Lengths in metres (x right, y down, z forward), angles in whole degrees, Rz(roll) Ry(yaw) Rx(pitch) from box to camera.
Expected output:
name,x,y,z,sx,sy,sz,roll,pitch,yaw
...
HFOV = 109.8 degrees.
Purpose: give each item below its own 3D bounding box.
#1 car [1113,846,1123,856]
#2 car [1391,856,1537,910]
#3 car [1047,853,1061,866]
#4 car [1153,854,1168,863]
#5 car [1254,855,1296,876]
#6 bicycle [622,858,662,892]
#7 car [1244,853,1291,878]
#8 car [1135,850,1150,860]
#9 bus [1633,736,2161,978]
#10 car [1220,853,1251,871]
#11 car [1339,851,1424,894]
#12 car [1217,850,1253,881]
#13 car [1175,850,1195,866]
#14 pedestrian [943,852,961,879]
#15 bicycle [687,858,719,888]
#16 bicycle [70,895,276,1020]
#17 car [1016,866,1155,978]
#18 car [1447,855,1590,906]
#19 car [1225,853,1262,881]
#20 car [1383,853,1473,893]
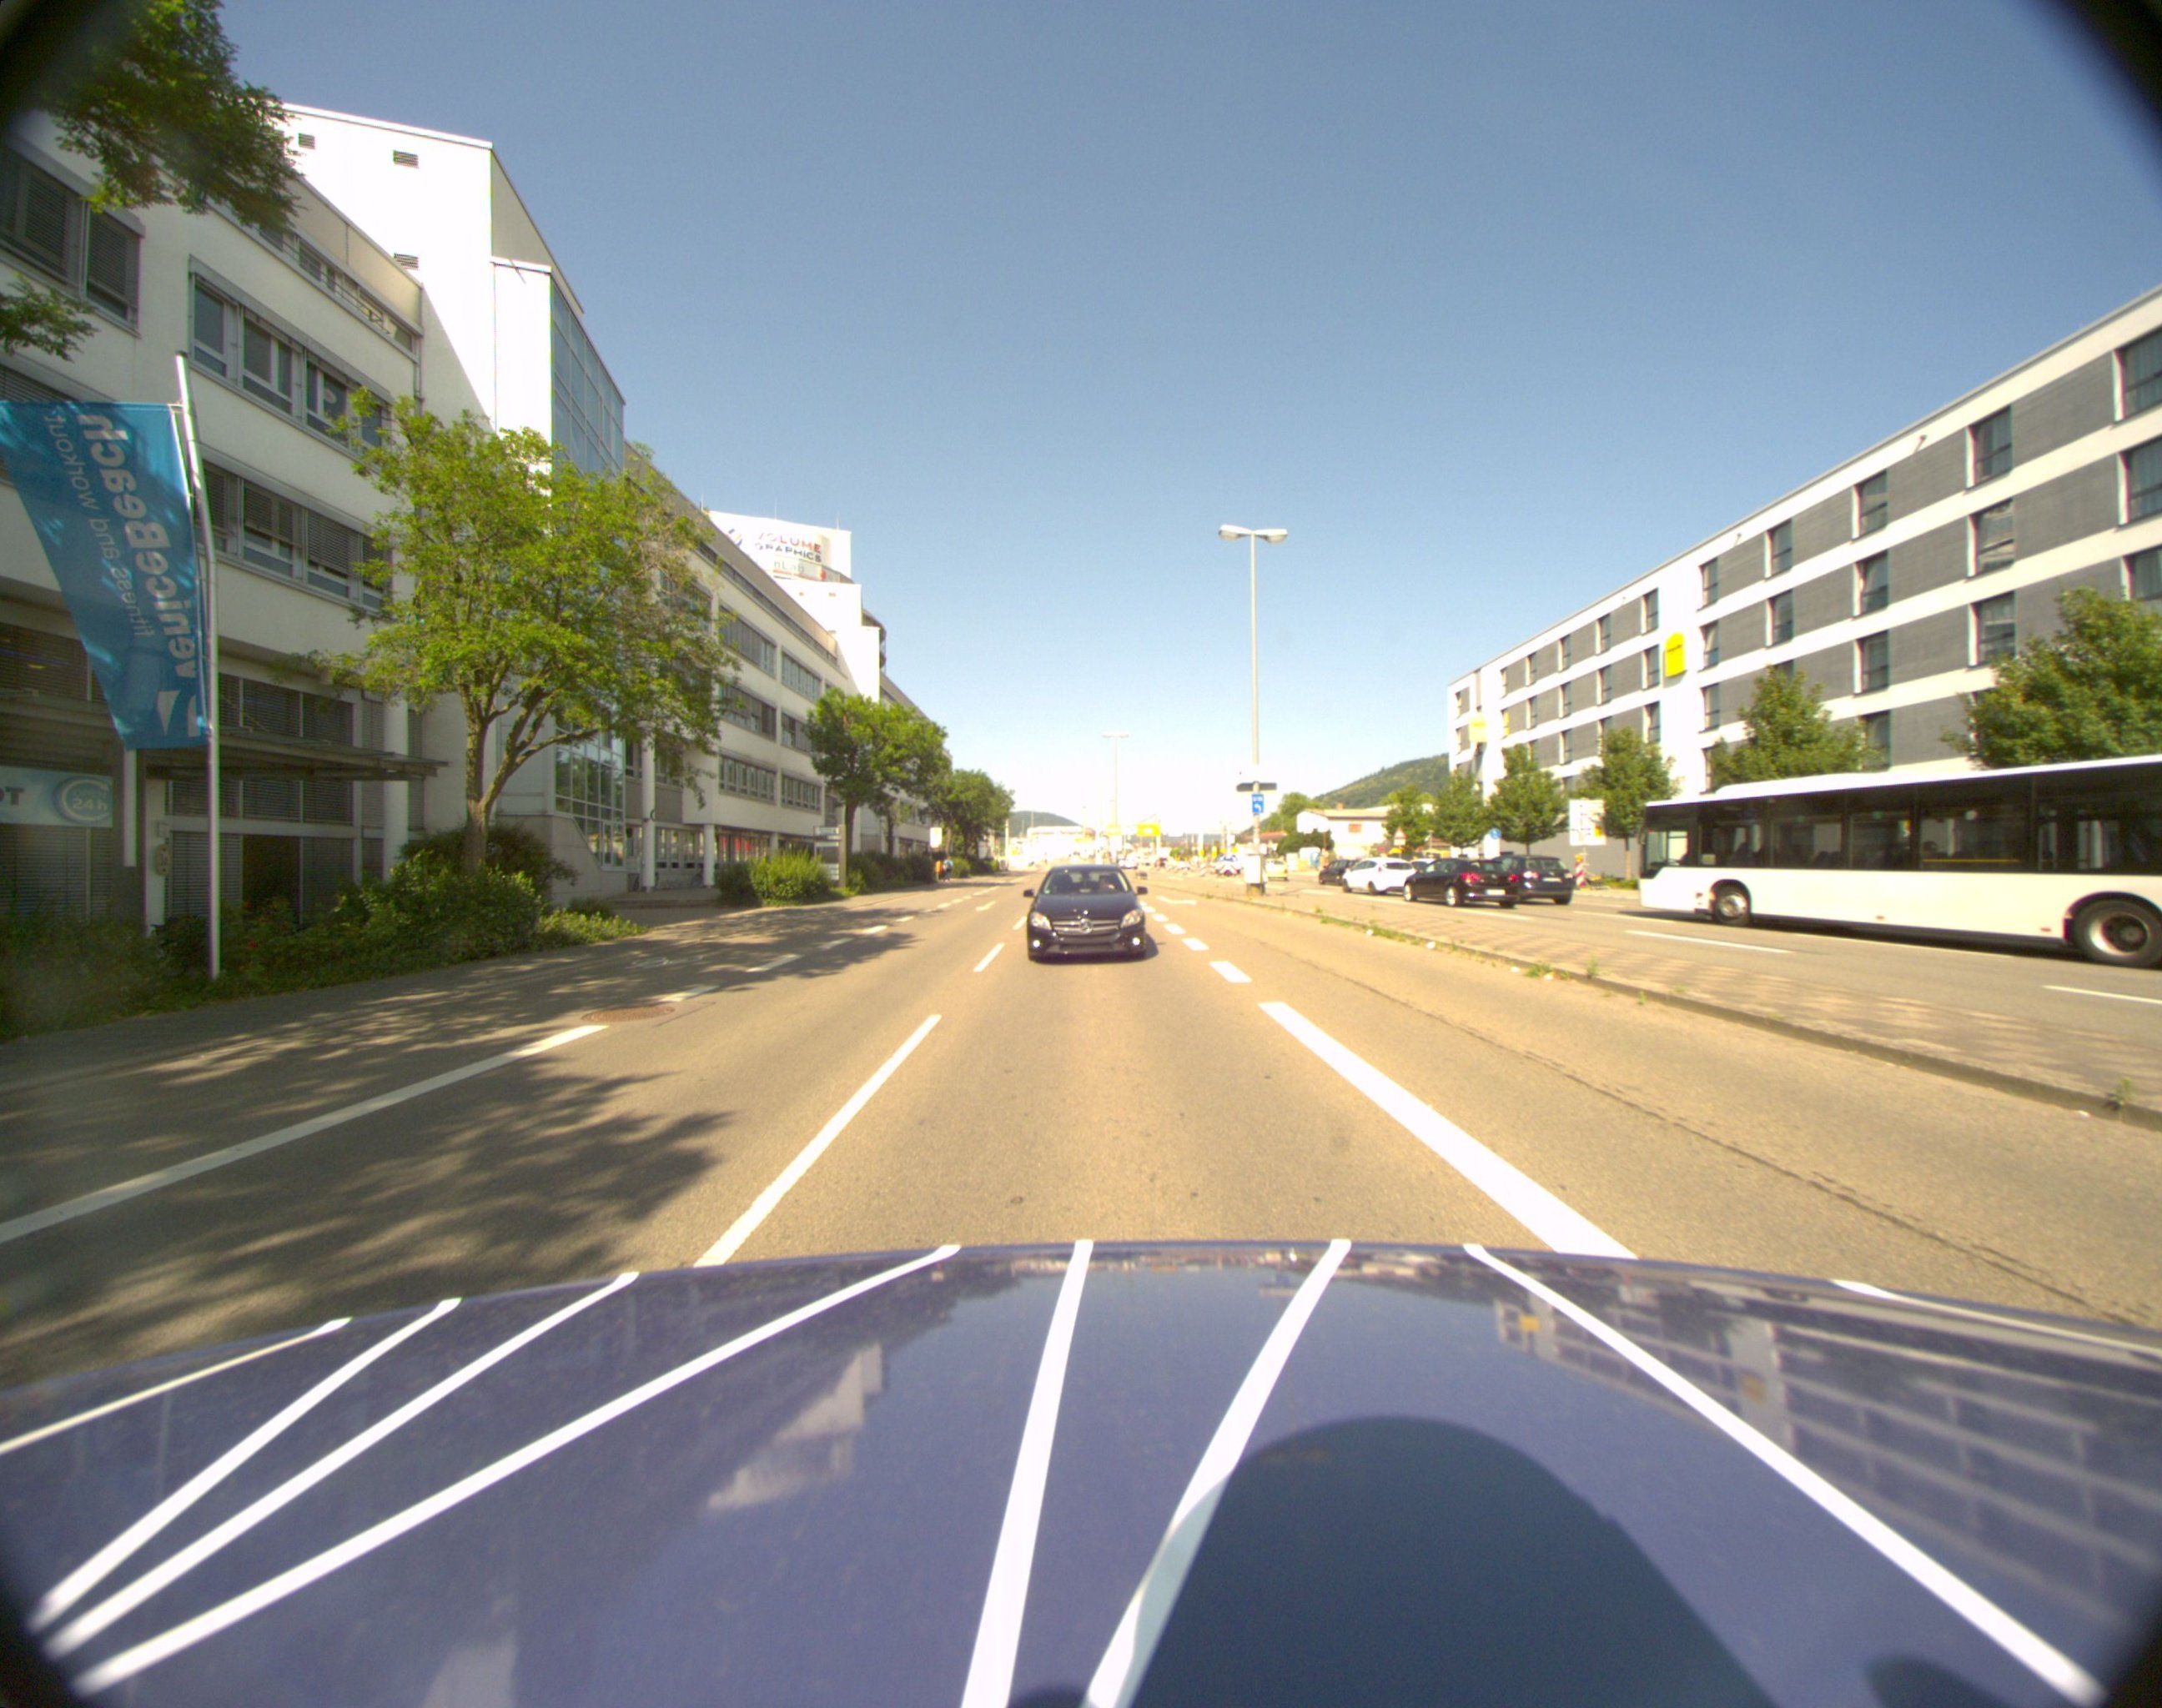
name,x,y,z,sx,sy,sz,roll,pitch,yaw
car,7.844,-0.734,162.286,1.998,2.002,3.999,-2,1,1
car,11.461,0.799,23.223,1.998,1.424,4.891,-1,0,0
car,-4.658,0.924,131.881,1.998,2.002,4.000,-2,1,2
car,12.384,0.684,118.730,1.815,1.328,3.937,-1,0,-3
car,15.025,0.842,59.051,1.998,1.514,4.891,-1,0,1
bicycle,-18.042,0.839,31.238,0.506,1.346,1.884,-1,0,1
car,12.409,0.730,50.799,1.998,1.514,4.891,-1,0,1
car,11.171,0.199,137.621,2.000,1.725,3.997,-1,0,-6
bus,15.023,0.053,12.721,2.745,3.060,11.974,1,0,0
car,14.717,0.734,72.503,1.998,1.702,4.891,-1,0,1
car,11.542,0.669,29.475,1.763,1.443,4.000,-2,1,2
car,10.822,0.802,53.646,1.679,2.002,4.164,-2,1,1
car,13.949,0.533,101.934,1.999,2.002,3.999,0,0,-1
pedestrian,-9.135,0.793,53.801,0.942,1.875,1.289,2,1,0
bicycle,-17.699,0.894,35.635,0.506,1.346,1.884,-1,0,1
bicycle,-11.233,1.214,9.510,0.506,1.321,1.883,0,0,-8
car,0.085,0.983,12.892,1.905,1.431,4.693,-1,0,1
car,14.357,0.798,25.325,1.998,1.514,4.891,-1,0,1
car,12.708,0.984,59.570,1.998,2.002,3.999,-2,1,1
car,14.576,0.800,32.149,1.858,1.529,3.978,1,-1,-2
